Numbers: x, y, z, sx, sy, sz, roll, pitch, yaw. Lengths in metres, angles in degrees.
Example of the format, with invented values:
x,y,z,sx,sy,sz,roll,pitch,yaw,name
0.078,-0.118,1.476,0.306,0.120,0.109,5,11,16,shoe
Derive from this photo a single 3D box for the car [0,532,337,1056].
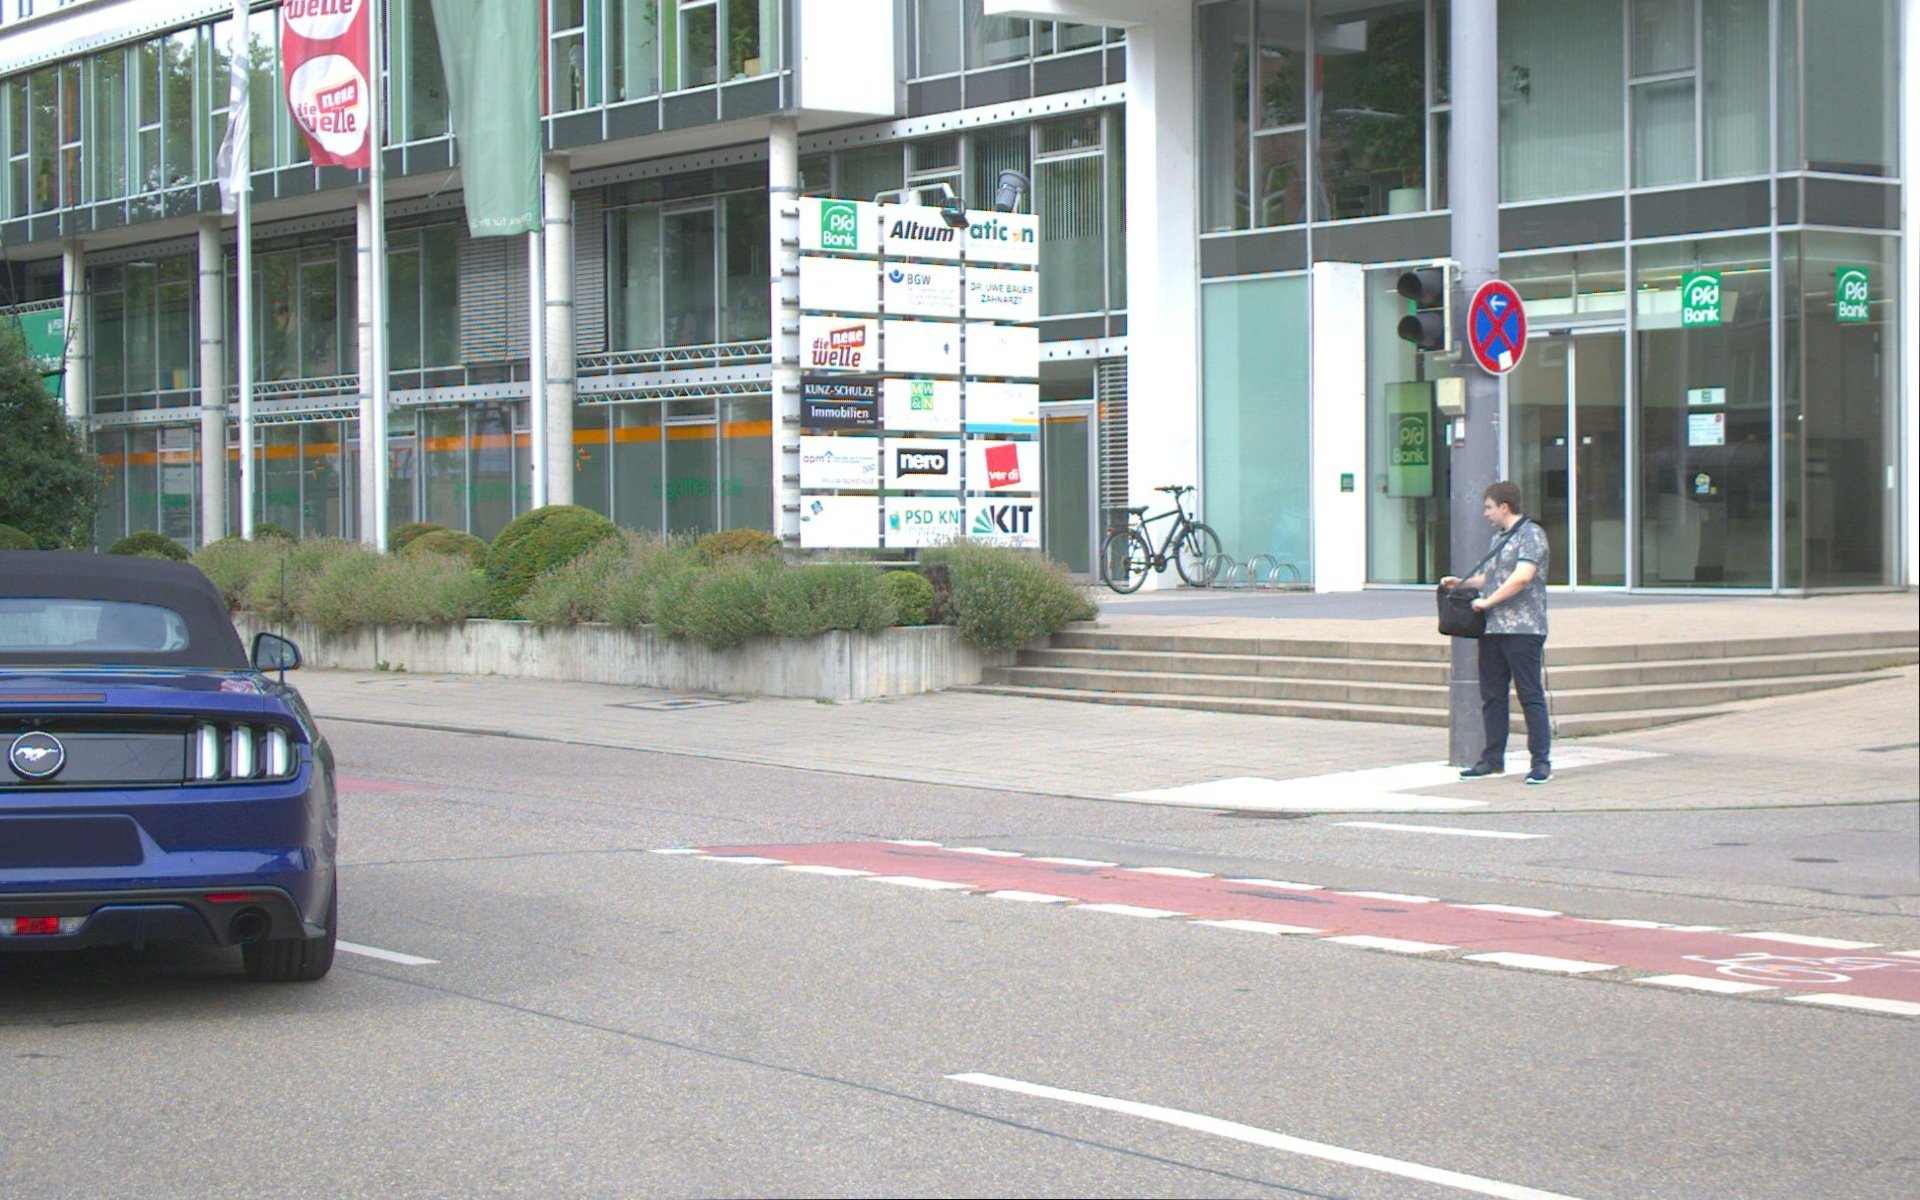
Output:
x,y,z,sx,sy,sz,roll,pitch,yaw,name
-3.202,0.513,11.804,1.875,1.399,4.284,-1,2,-13,car

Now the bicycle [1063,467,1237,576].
x,y,z,sx,sy,sz,roll,pitch,yaw,name
2.136,-0.880,38.380,2.108,1.173,0.586,-1,3,-41,bicycle

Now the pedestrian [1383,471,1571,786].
x,y,z,sx,sy,sz,roll,pitch,yaw,name
3.133,0.151,20.855,0.763,1.858,0.836,-1,2,-30,pedestrian
